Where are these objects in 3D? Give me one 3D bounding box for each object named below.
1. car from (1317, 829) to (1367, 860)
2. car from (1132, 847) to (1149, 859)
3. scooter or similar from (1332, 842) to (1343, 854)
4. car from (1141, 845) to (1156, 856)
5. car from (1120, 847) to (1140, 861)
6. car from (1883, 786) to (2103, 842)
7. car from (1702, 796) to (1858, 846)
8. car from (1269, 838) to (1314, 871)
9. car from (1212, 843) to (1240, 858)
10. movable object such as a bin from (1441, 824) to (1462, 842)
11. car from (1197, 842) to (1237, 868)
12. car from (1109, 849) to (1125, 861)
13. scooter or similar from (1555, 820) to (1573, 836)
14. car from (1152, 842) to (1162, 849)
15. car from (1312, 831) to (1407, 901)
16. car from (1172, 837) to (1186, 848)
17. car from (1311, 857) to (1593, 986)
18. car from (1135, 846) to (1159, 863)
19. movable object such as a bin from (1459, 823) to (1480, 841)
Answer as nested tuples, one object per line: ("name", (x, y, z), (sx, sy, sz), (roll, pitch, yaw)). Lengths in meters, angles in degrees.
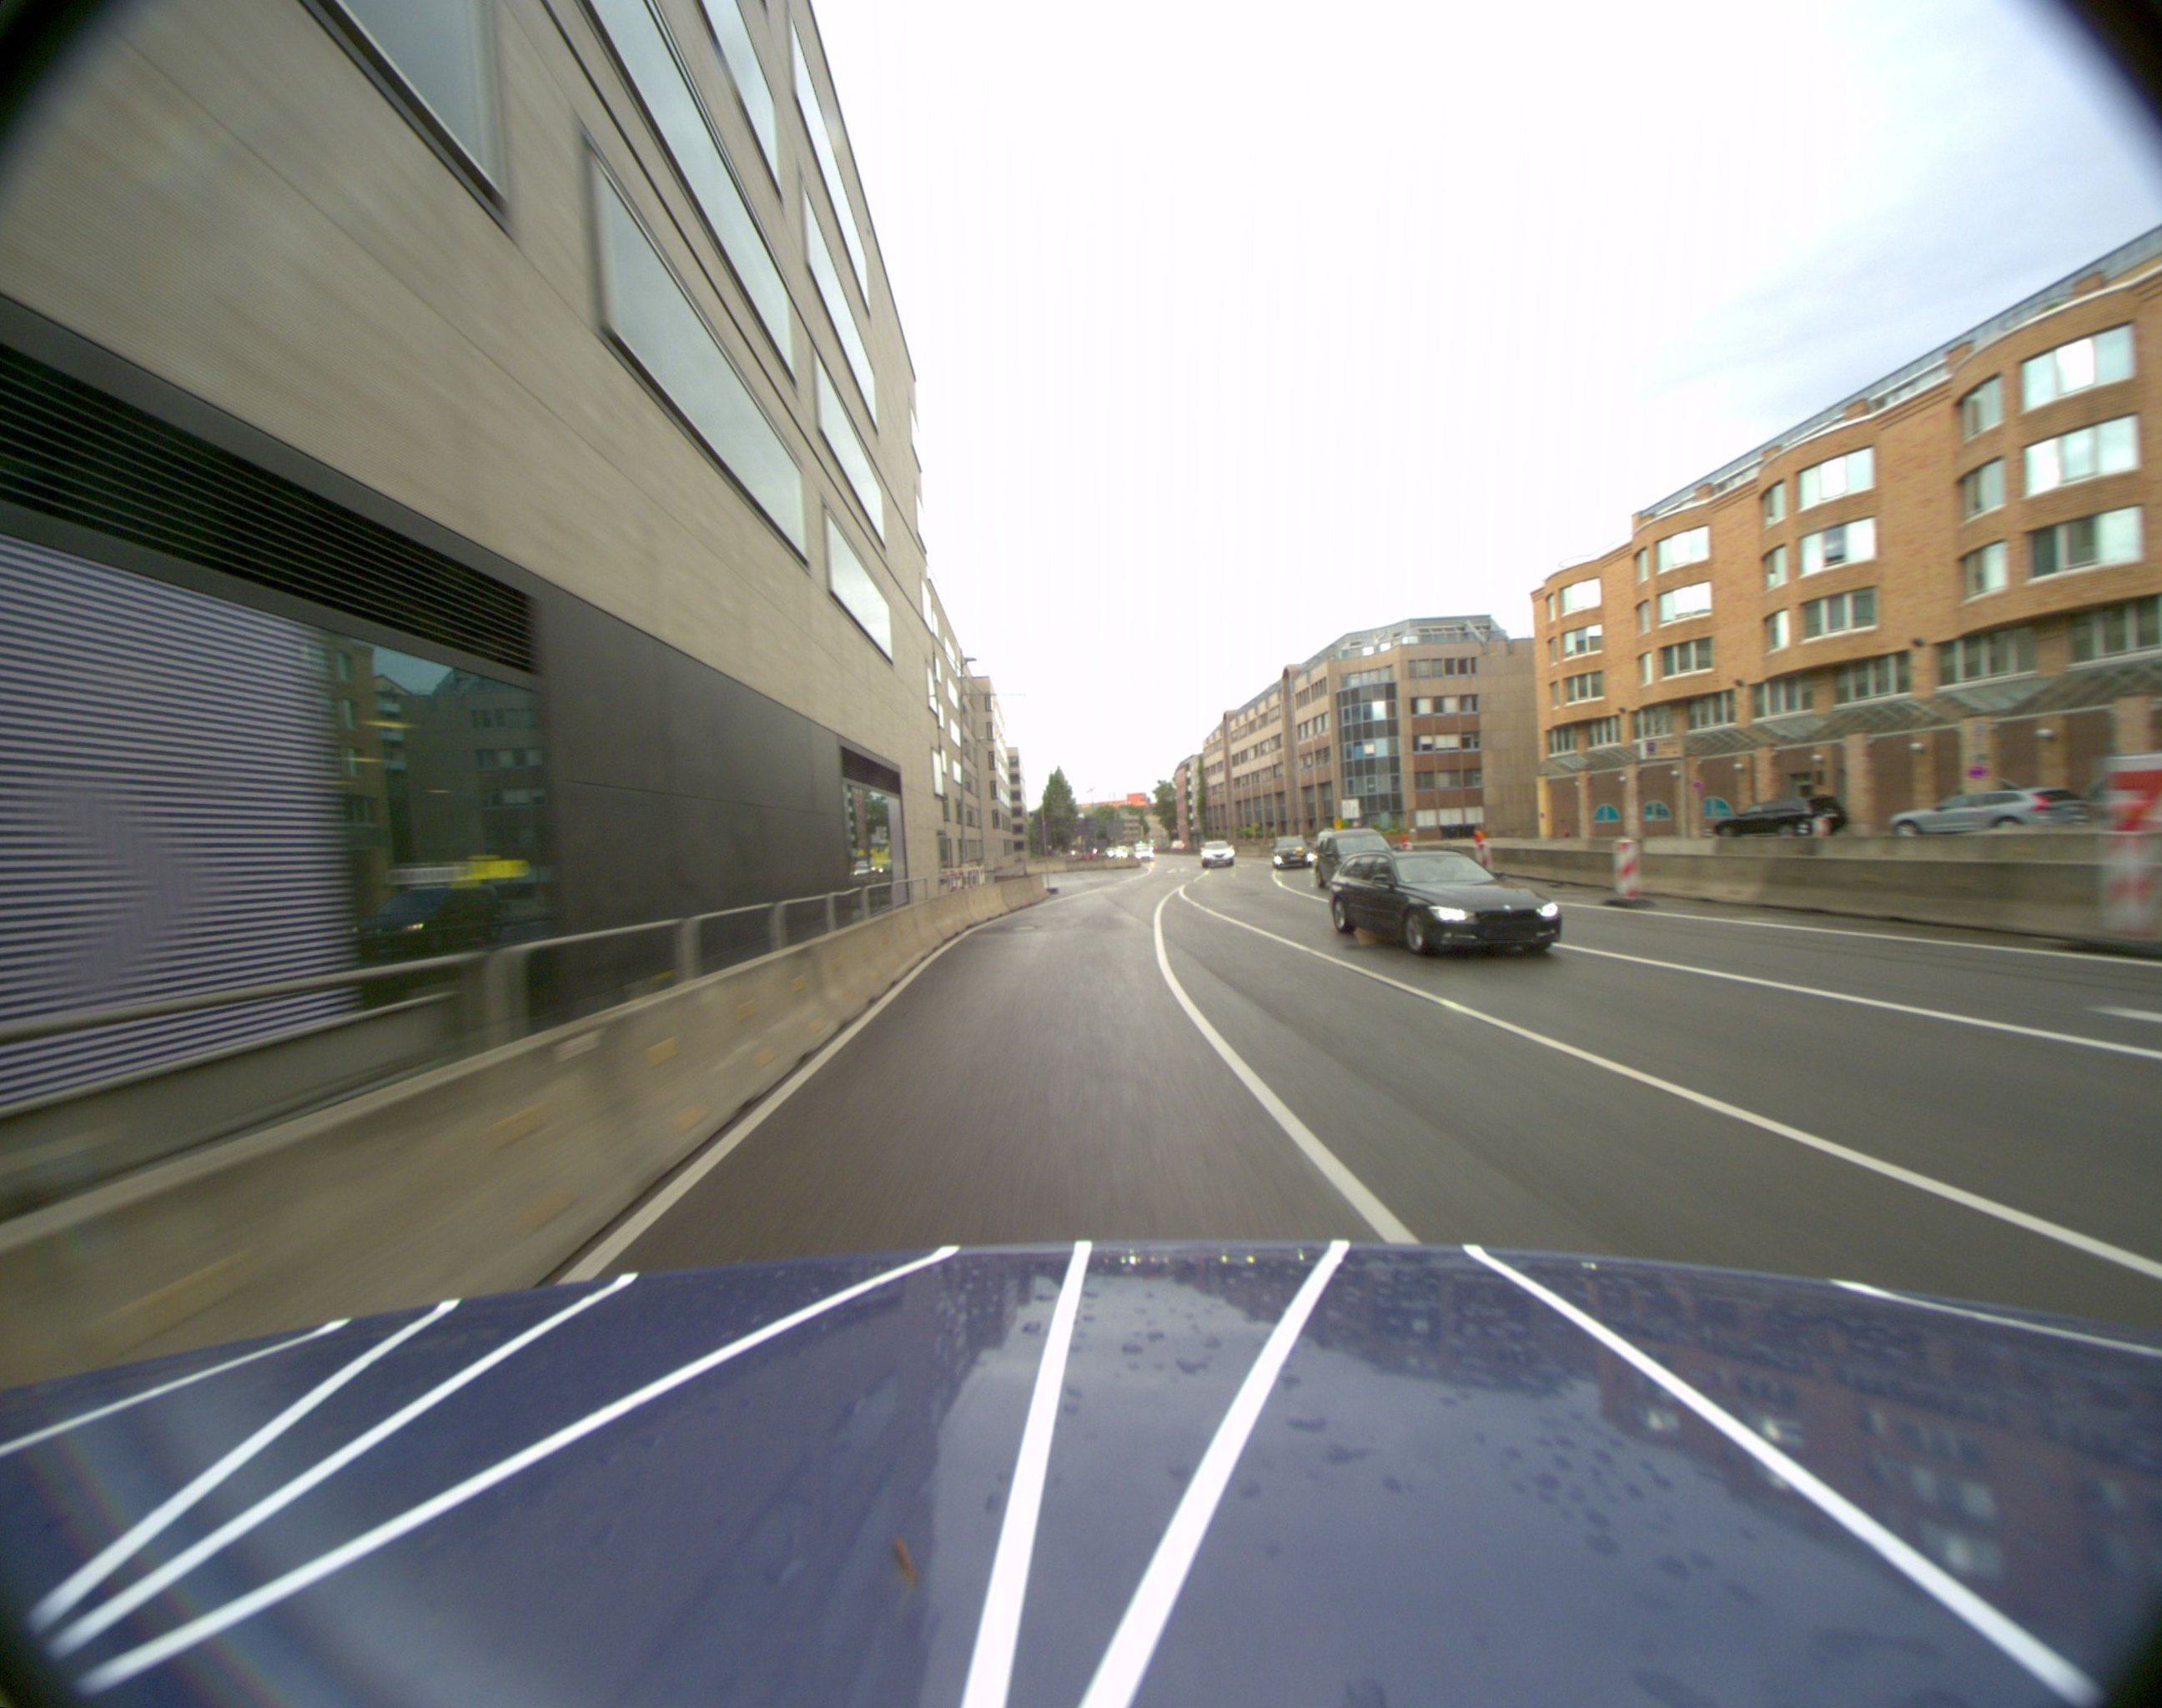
("car", (17.665, -0.644, 51.680), (1.998, 1.874, 4.871), (-3, 0, 5))
("car", (8.061, -0.136, 103.132), (1.772, 1.524, 4.655), (-4, 0, -2))
("scooter or similar", (24.221, -0.549, 71.853), (0.450, 1.056, 1.044), (-3, 1, -13))
("car", (10.746, -0.526, 120.833), (1.772, 1.524, 4.655), (-4, 0, -2))
("car", (5.708, 0.032, 89.493), (1.772, 1.524, 4.655), (-4, 0, -2))
("car", (31.275, -1.297, 26.326), (1.999, 1.584, 4.538), (-4, 0, -4))
("car", (30.739, -1.384, 33.684), (1.999, 1.875, 5.012), (-4, 0, -4))
("car", (10.735, -0.007, 39.008), (1.771, 1.524, 4.359), (-3, 0, 10))
("car", (16.288, -0.371, 85.435), (1.999, 1.451, 4.227), (-4, 0, -3))
("movable object such as a bin", (33.310, -1.876, 68.371), (1.246, 1.471, 1.351), (-3, 1, 5))
("car", (8.599, 0.049, 48.371), (1.772, 1.524, 4.656), (-4, 0, 2))
("car", (5.099, 0.083, 107.373), (1.772, 1.524, 4.655), (-4, 0, -2))
("scooter or similar", (33.867, -1.814, 53.276), (0.450, 1.056, 1.043), (-3, 1, -15))
("car", (14.633, -1.596, 146.736), (1.616, 1.224, 3.727), (-4, 0, 4))
("car", (8.116, 0.295, 22.503), (1.797, 1.790, 4.253), (-4, 0, 10))
("car", (16.694, -1.924, 129.050), (1.890, 1.773, 4.877), (-4, 0, 3))
("car", (5.207, 0.823, 11.531), (1.772, 1.435, 4.655), (-4, 0, -3))
("car", (6.705, 0.035, 77.333), (1.772, 1.524, 4.655), (-4, 0, -2))
("movable object such as a bin", (34.825, -1.969, 68.162), (1.245, 1.471, 1.351), (-3, 1, 5))
